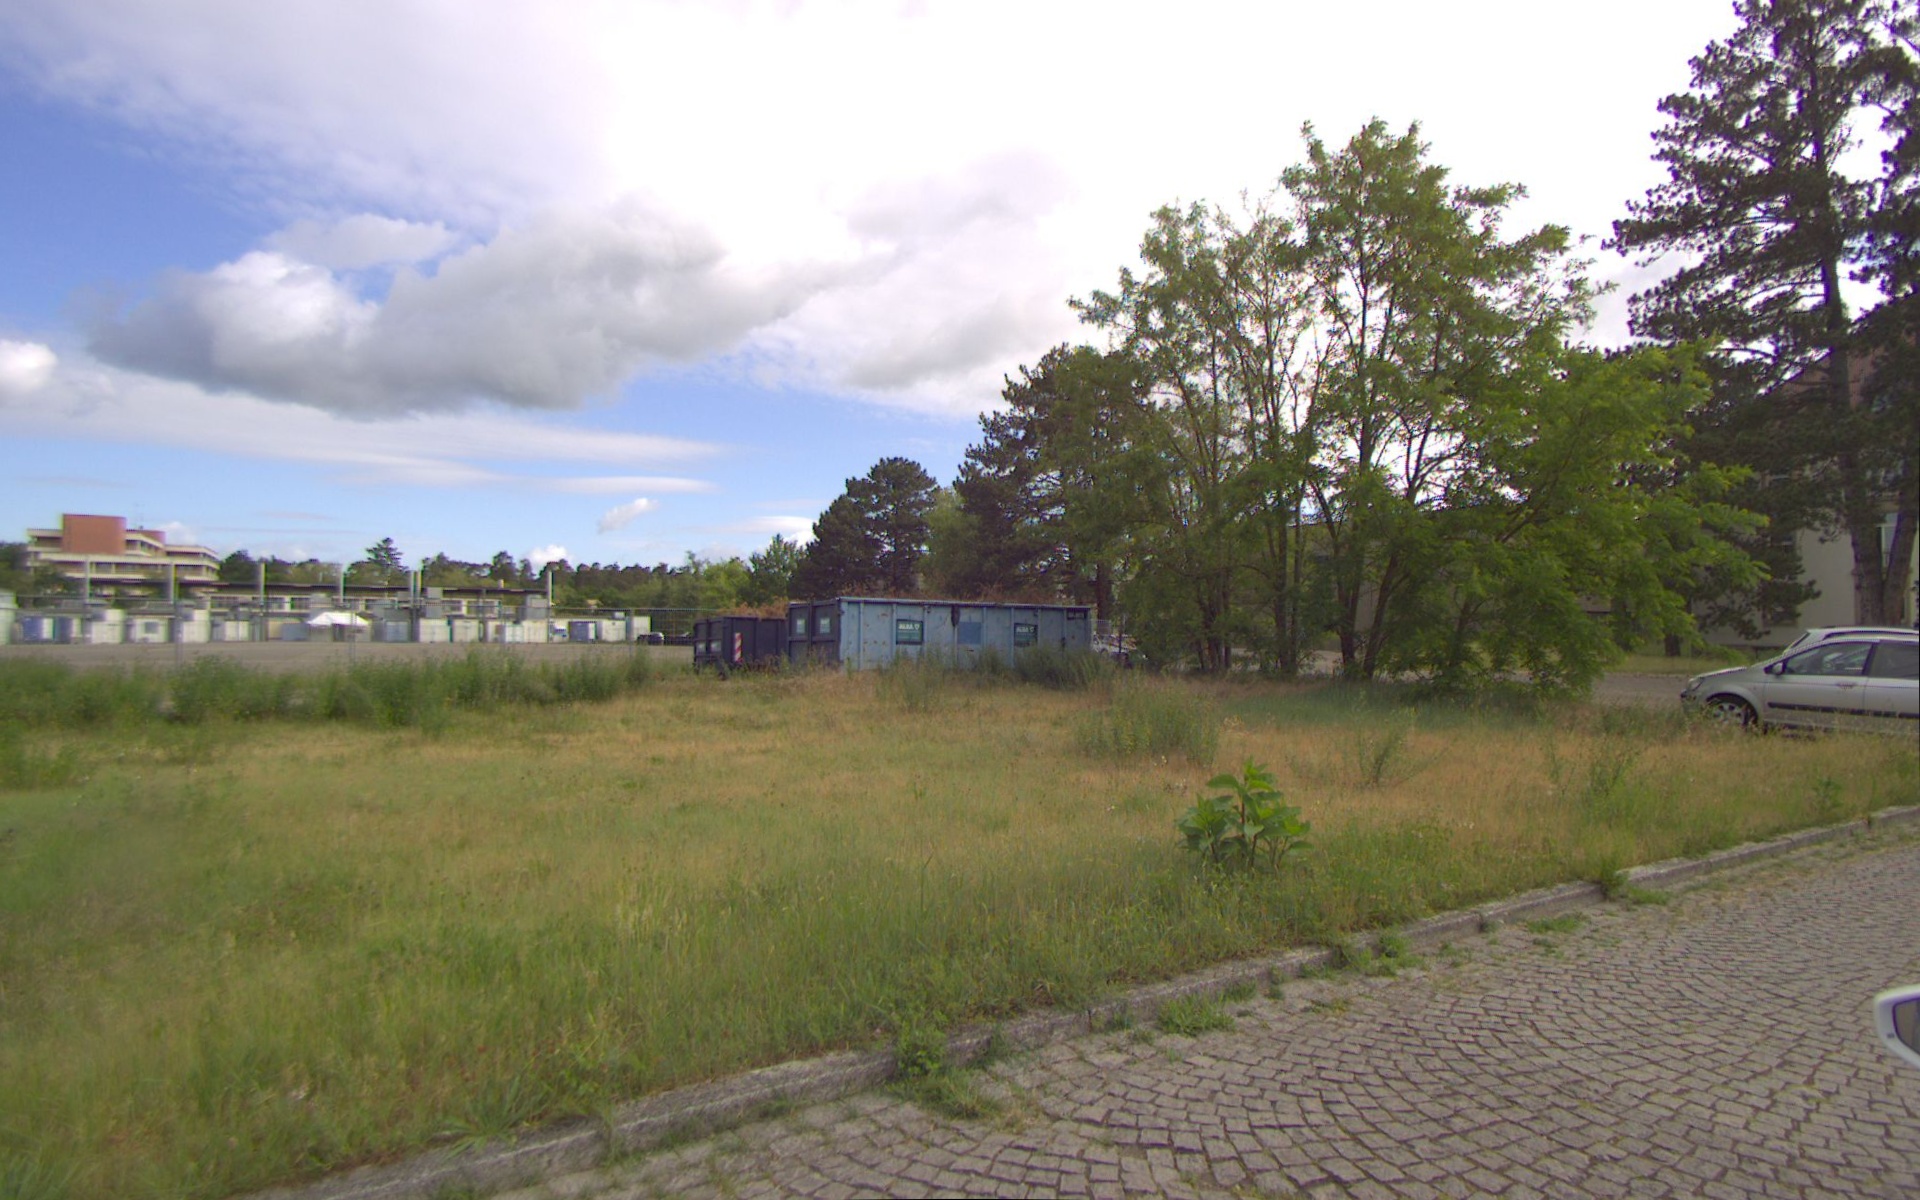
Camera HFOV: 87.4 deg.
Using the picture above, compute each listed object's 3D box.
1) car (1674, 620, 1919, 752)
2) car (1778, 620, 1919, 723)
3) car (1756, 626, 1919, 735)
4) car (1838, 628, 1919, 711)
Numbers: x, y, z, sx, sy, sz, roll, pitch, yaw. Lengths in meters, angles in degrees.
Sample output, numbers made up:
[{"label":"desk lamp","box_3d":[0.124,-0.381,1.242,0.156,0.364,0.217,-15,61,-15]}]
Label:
[{"label":"car","box_3d":[11.935,1.099,13.336,1.566,1.499,3.680,1,1,-34]},{"label":"car","box_3d":[16.216,1.203,16.552,1.633,1.584,3.923,1,1,-34]},{"label":"car","box_3d":[14.162,1.195,14.612,1.566,1.448,3.723,1,1,-34]},{"label":"car","box_3d":[18.387,1.316,17.803,1.632,1.440,3.926,1,1,-31]}]
